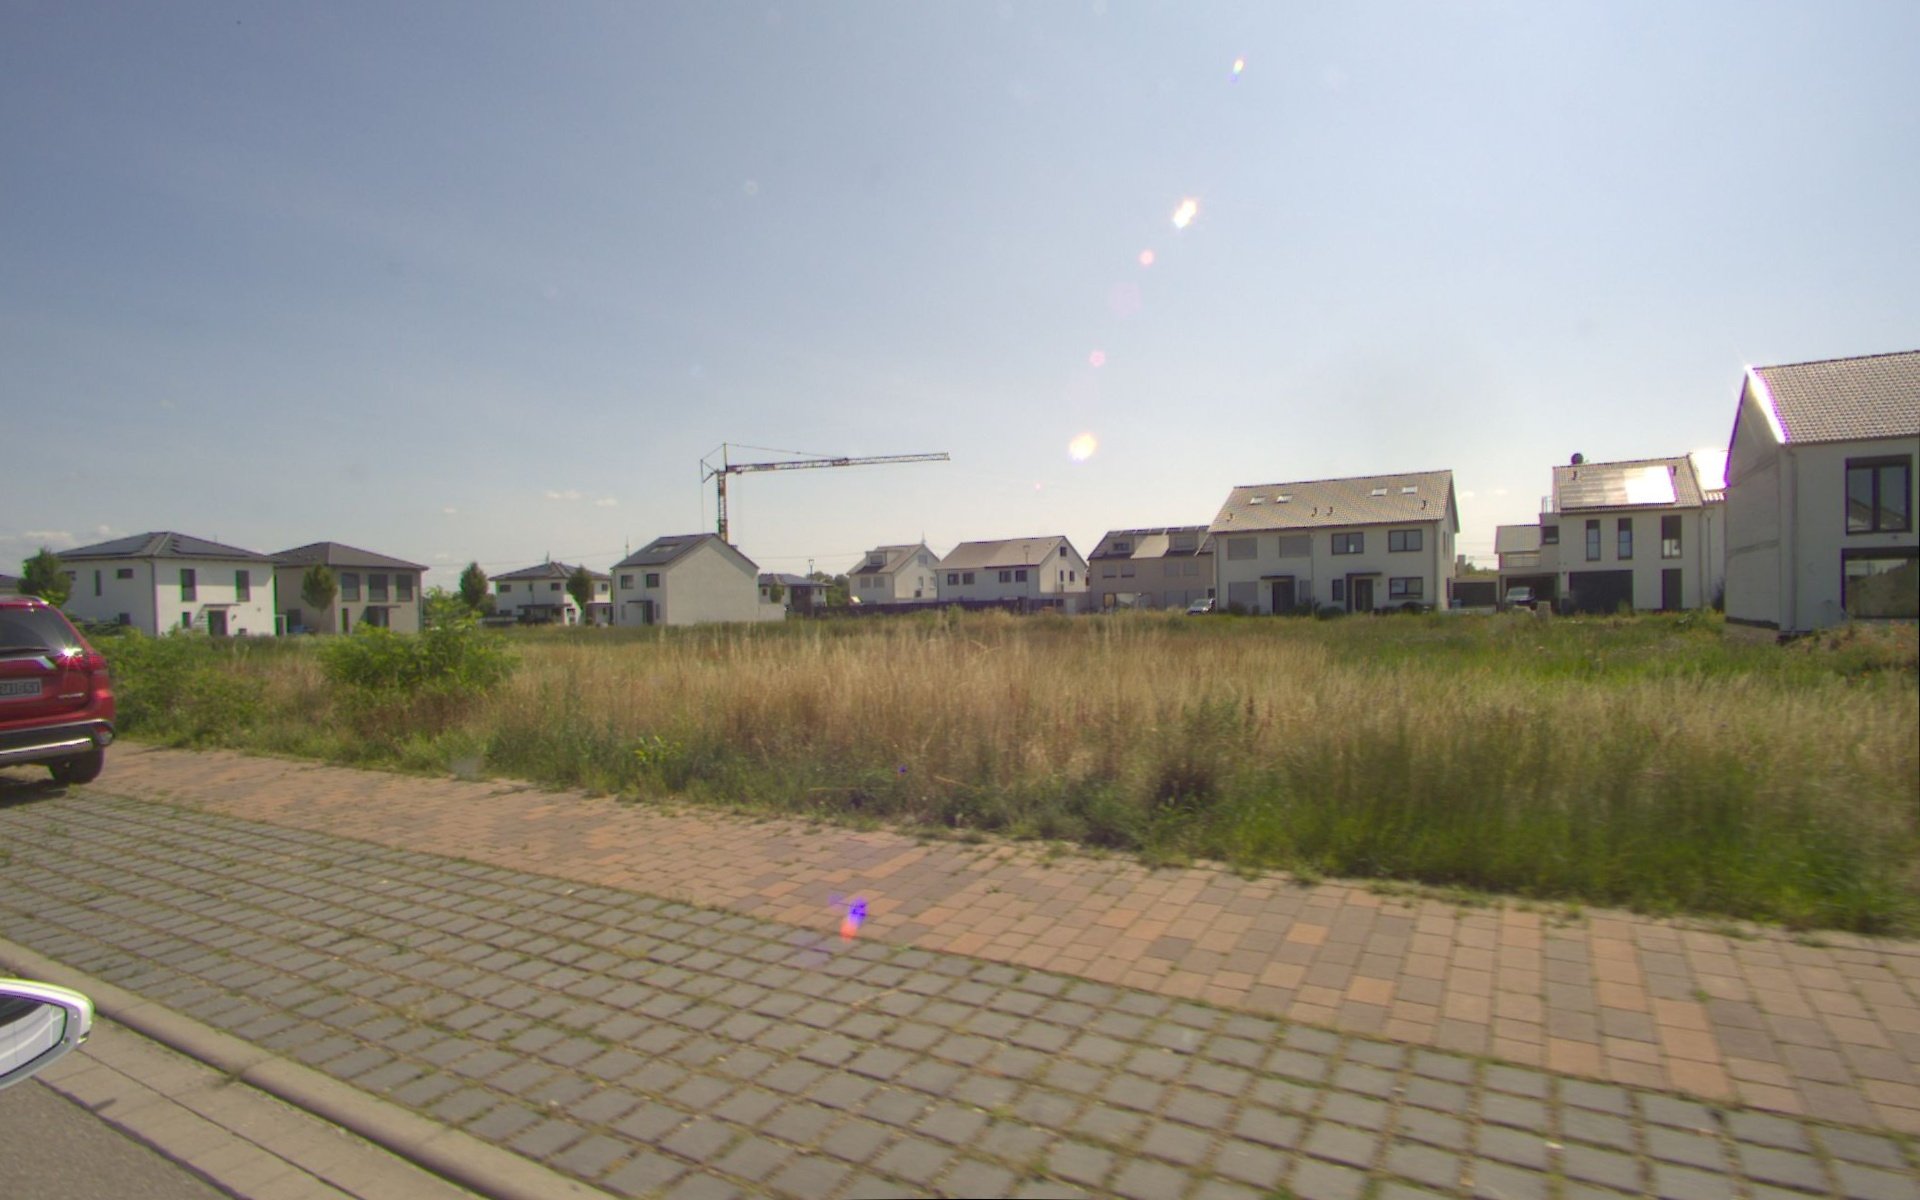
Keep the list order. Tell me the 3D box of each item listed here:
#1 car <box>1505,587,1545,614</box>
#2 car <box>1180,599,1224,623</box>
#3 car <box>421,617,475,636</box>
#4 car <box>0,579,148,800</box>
[{"bbox_3d":[34.255,0.030,60.708,1.791,1.532,3.976,-1,0,34],"label":"car"},{"bbox_3d":[17.389,0.787,71.811,1.791,1.594,3.976,-1,0,34],"label":"car"},{"bbox_3d":[-42.678,2.174,83.542,1.719,1.416,3.994,-2,-1,17],"label":"car"},{"bbox_3d":[-9.213,0.714,8.791,4.368,1.686,1.773,-1,1,30],"label":"car"}]
